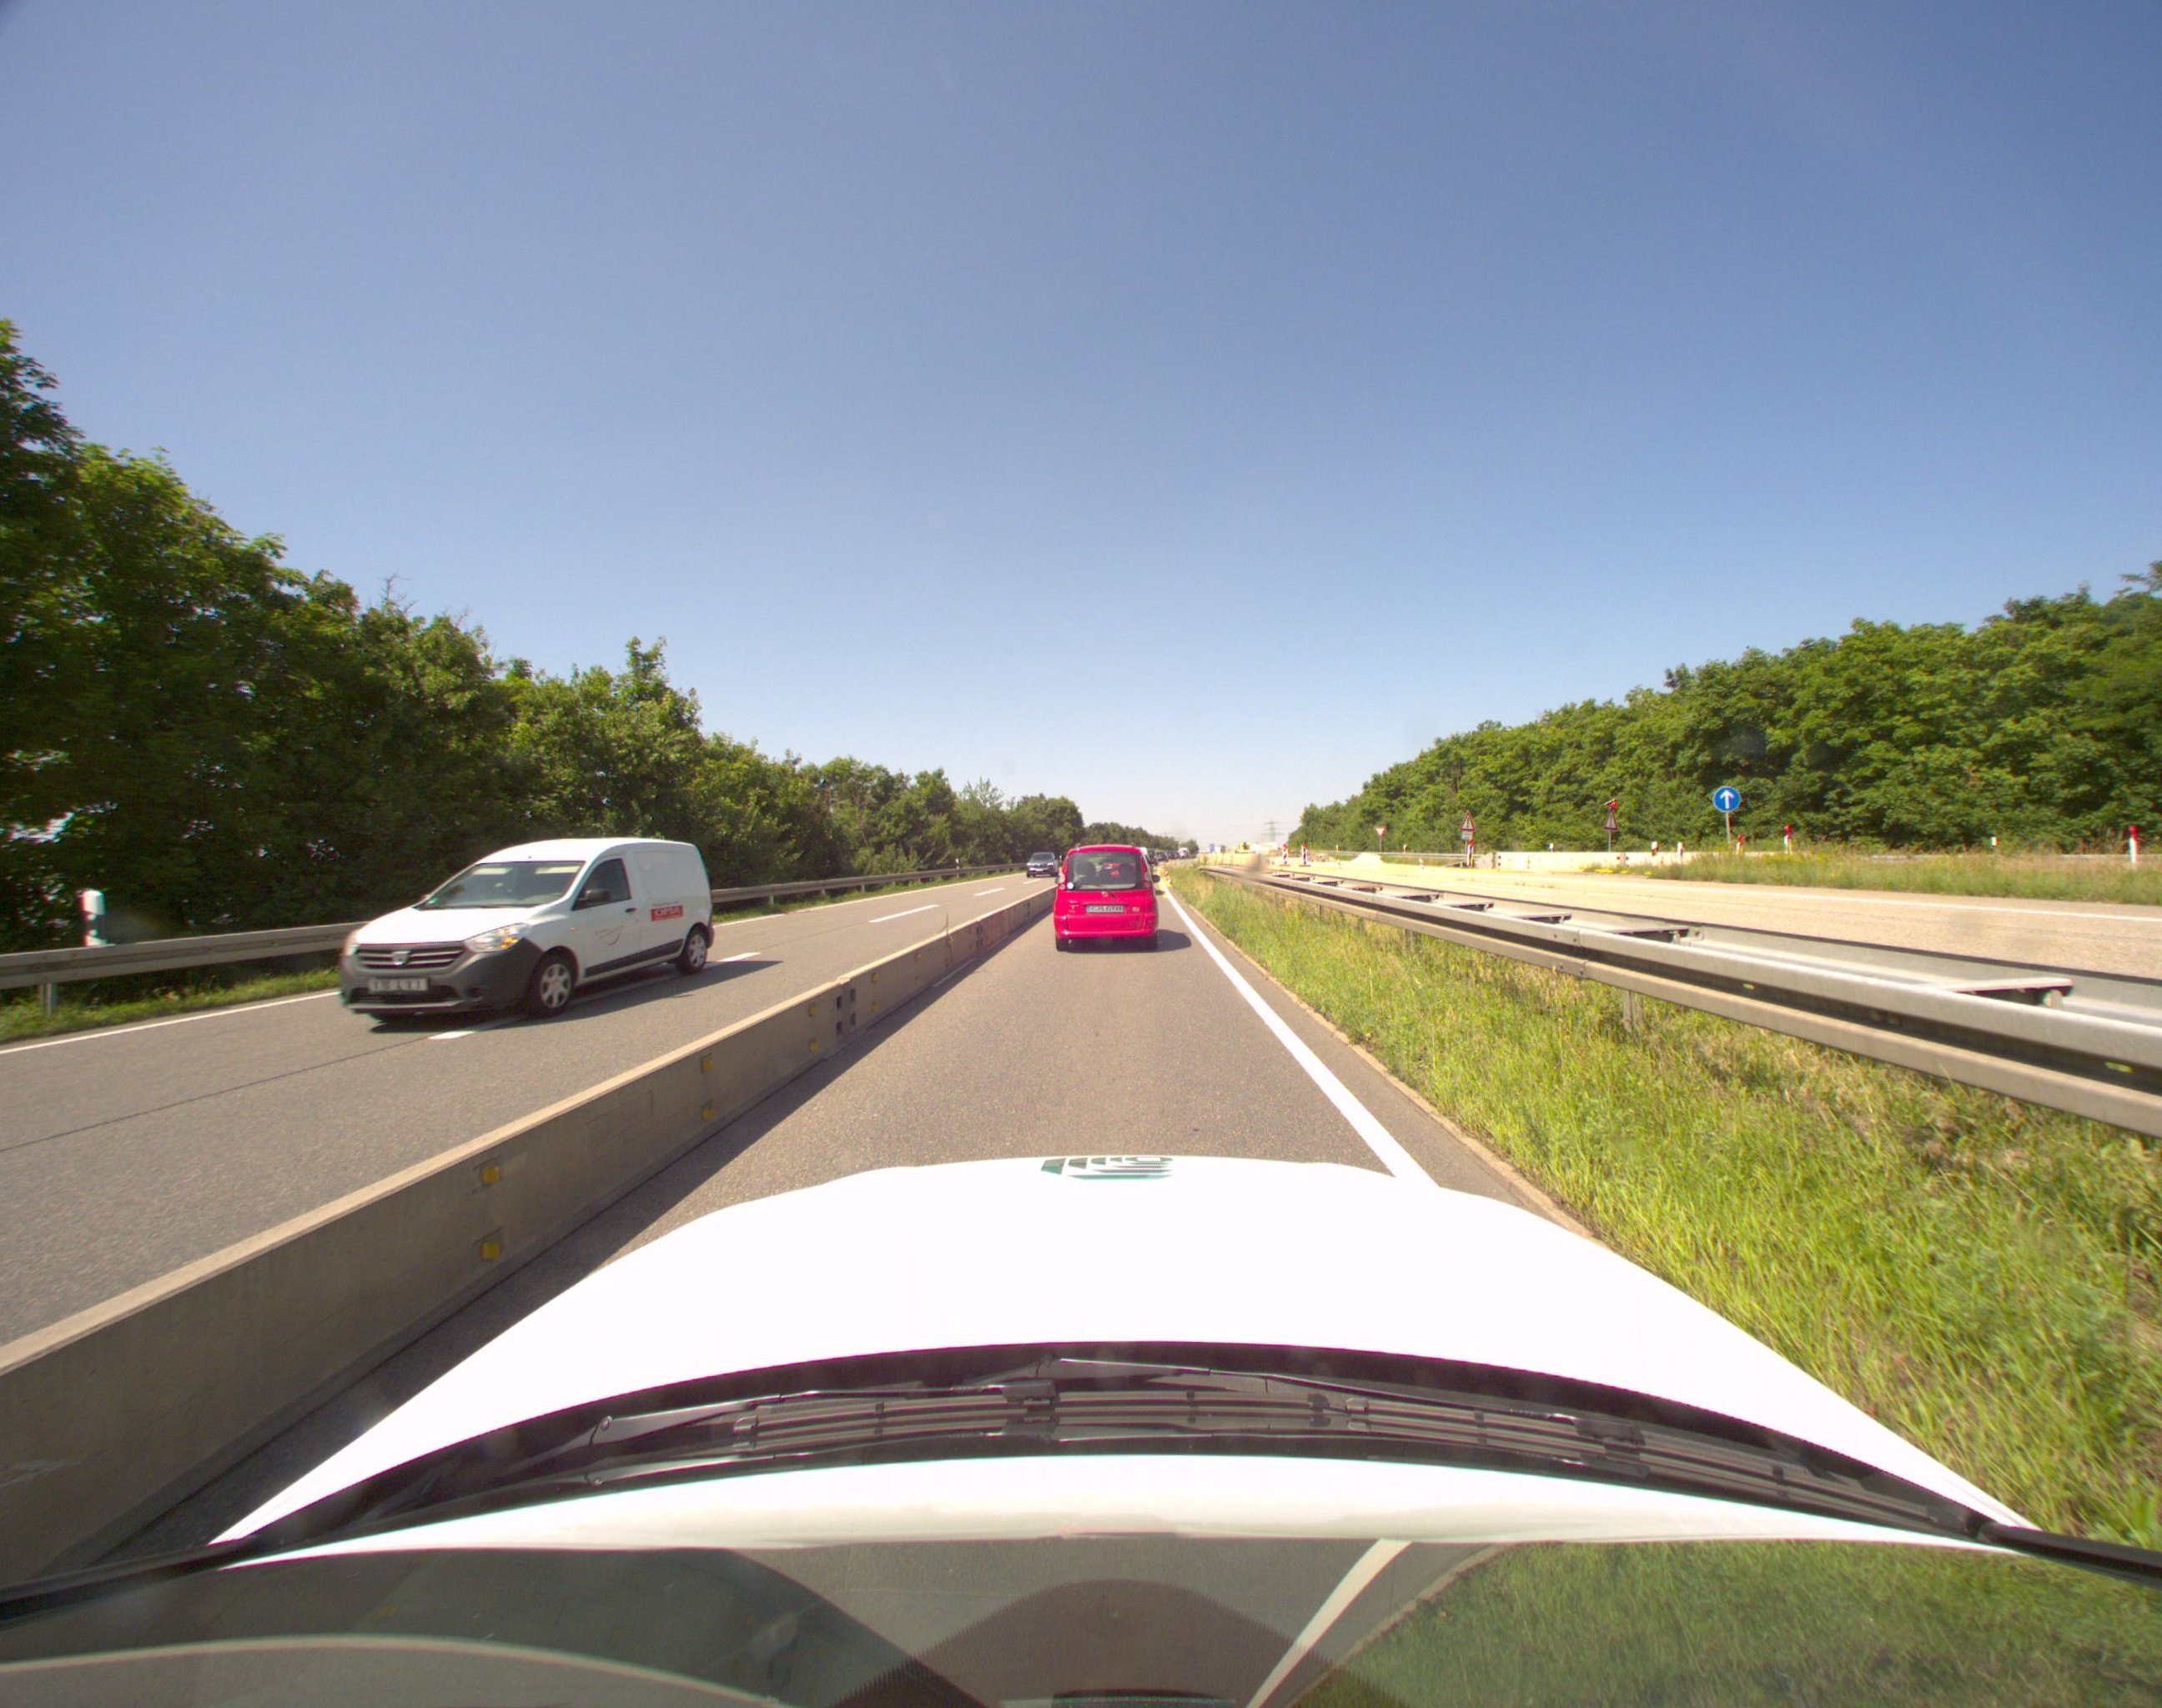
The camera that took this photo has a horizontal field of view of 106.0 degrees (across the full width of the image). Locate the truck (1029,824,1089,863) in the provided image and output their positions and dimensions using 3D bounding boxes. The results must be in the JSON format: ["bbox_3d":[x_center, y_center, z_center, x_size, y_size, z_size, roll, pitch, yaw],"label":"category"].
[{"bbox_3d":[-3.259,-1.567,123.327,8.579,5.375,3.394,-2,0,5],"label":"truck"}]

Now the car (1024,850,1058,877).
[{"bbox_3d":[-2.602,0.581,53.980,1.850,1.638,4.386,-3,0,2],"label":"car"}]

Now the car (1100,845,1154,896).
[{"bbox_3d":[1.737,0.563,30.217,1.822,1.722,4.004,-1,0,4],"label":"car"}]

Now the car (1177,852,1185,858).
[{"bbox_3d":[19.995,0.189,163.065,1.414,1.298,2.884,-2,0,6],"label":"car"}]

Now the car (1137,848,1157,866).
[{"bbox_3d":[6.776,0.332,84.089,1.984,1.750,4.005,-1,0,4],"label":"car"}]

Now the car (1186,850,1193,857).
[{"bbox_3d":[23.634,-0.070,177.193,1.494,1.450,3.175,-1,0,6],"label":"car"}]

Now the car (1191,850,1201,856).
[{"bbox_3d":[28.503,-0.218,201.560,1.985,1.552,4.004,-2,0,4],"label":"car"}]

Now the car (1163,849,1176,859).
[{"bbox_3d":[14.488,0.052,133.818,1.983,1.585,4.008,-1,0,7],"label":"car"}]

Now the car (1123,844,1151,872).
[{"bbox_3d":[4.290,0.302,62.601,1.986,2.003,4.002,-1,0,2],"label":"car"}]

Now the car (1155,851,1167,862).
[{"bbox_3d":[10.732,0.290,109.349,1.495,1.450,3.328,-3,0,4],"label":"car"}]

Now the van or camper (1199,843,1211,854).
[{"bbox_3d":[30.874,-1.317,202.469,2.319,2.707,4.595,-2,0,2],"label":"van or camper"}]

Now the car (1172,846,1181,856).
[{"bbox_3d":[17.190,-0.477,146.792,1.495,1.736,3.174,-3,0,4],"label":"car"}]

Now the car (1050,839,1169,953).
[{"bbox_3d":[0.506,0.636,14.226,1.745,1.673,4.002,-1,0,2],"label":"car"}]

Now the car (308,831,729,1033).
[{"bbox_3d":[-5.953,0.694,9.415,1.749,1.765,4.286,-2,0,2],"label":"car"}]

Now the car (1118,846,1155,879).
[{"bbox_3d":[3.213,0.465,47.193,1.985,1.838,4.004,-1,0,4],"label":"car"}]
